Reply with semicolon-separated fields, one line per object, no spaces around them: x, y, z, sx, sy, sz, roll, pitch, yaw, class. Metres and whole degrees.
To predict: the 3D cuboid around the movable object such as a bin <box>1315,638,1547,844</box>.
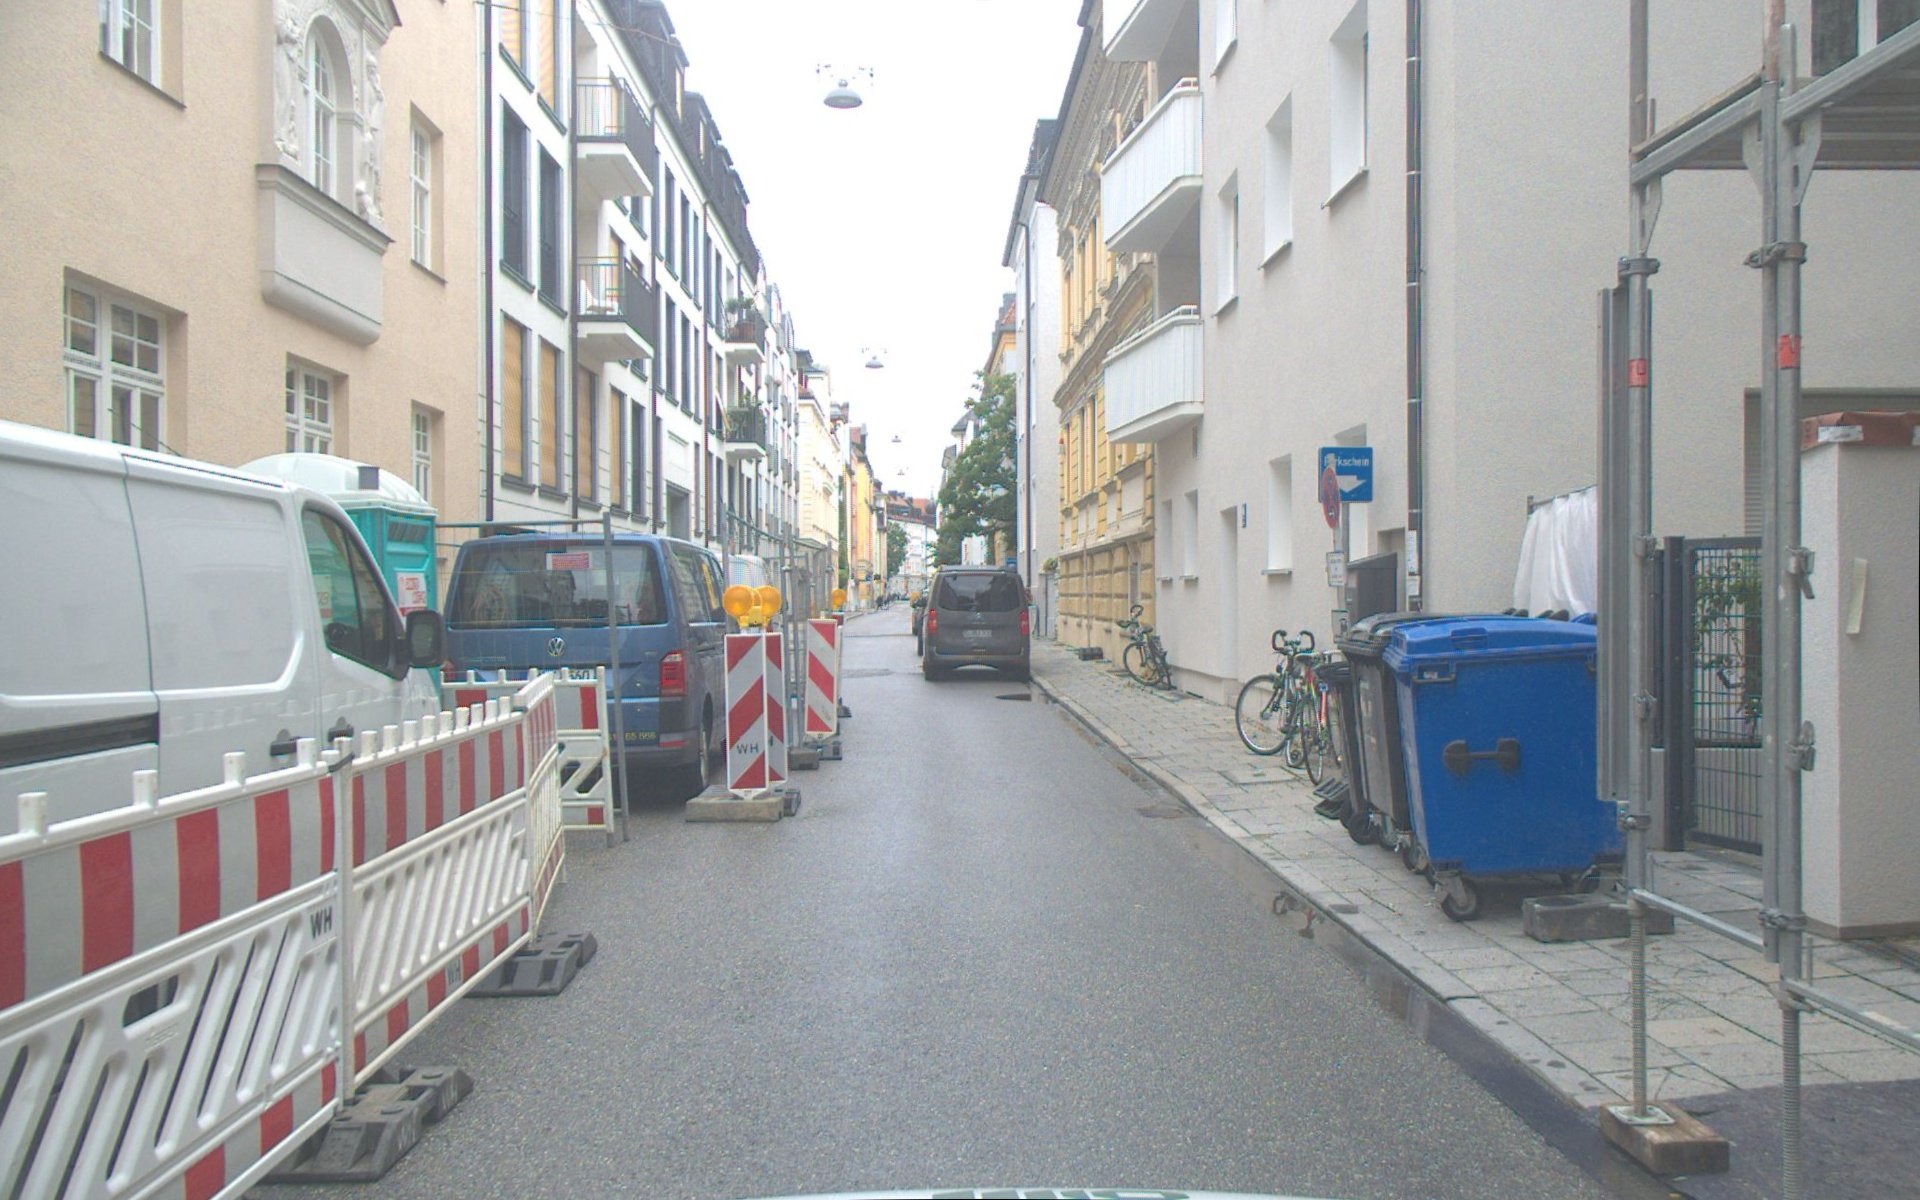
2.850;0.843;10.122;1.185;1.114;0.790;-4;0;6;movable object such as a bin

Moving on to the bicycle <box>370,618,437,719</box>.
-6.278;0.754;18.696;0.297;1.070;1.453;2;0;-3;bicycle

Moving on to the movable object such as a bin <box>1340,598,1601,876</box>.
2.779;0.714;9.170;1.102;1.369;1.172;-4;0;6;movable object such as a bin

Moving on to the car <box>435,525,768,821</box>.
-2.733;0.490;13.890;1.692;1.930;5.507;-2;0;-2;car

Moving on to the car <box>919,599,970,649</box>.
-0.545;0.813;57.961;1.716;1.665;3.444;1;0;-1;car

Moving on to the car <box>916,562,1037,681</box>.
0.217;0.346;30.211;1.953;1.965;4.658;1;0;-2;car

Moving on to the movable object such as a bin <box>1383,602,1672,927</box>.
2.656;0.735;7.928;1.063;1.369;1.319;-3;0;11;movable object such as a bin

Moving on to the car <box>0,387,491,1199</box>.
-3.088;0.535;5.439;1.879;1.930;4.788;-2;0;-3;car

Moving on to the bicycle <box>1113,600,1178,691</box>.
2.608;0.625;23.443;0.625;1.173;1.915;-3;1;-1;bicycle

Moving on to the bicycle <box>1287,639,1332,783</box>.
2.760;0.848;13.105;0.274;1.009;1.435;-3;0;11;bicycle

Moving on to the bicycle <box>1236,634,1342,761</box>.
2.858;0.826;14.449;0.397;1.009;1.326;-3;0;-10;bicycle

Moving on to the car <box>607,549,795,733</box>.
-2.968;0.429;19.935;1.867;1.930;5.084;0;0;-5;car
